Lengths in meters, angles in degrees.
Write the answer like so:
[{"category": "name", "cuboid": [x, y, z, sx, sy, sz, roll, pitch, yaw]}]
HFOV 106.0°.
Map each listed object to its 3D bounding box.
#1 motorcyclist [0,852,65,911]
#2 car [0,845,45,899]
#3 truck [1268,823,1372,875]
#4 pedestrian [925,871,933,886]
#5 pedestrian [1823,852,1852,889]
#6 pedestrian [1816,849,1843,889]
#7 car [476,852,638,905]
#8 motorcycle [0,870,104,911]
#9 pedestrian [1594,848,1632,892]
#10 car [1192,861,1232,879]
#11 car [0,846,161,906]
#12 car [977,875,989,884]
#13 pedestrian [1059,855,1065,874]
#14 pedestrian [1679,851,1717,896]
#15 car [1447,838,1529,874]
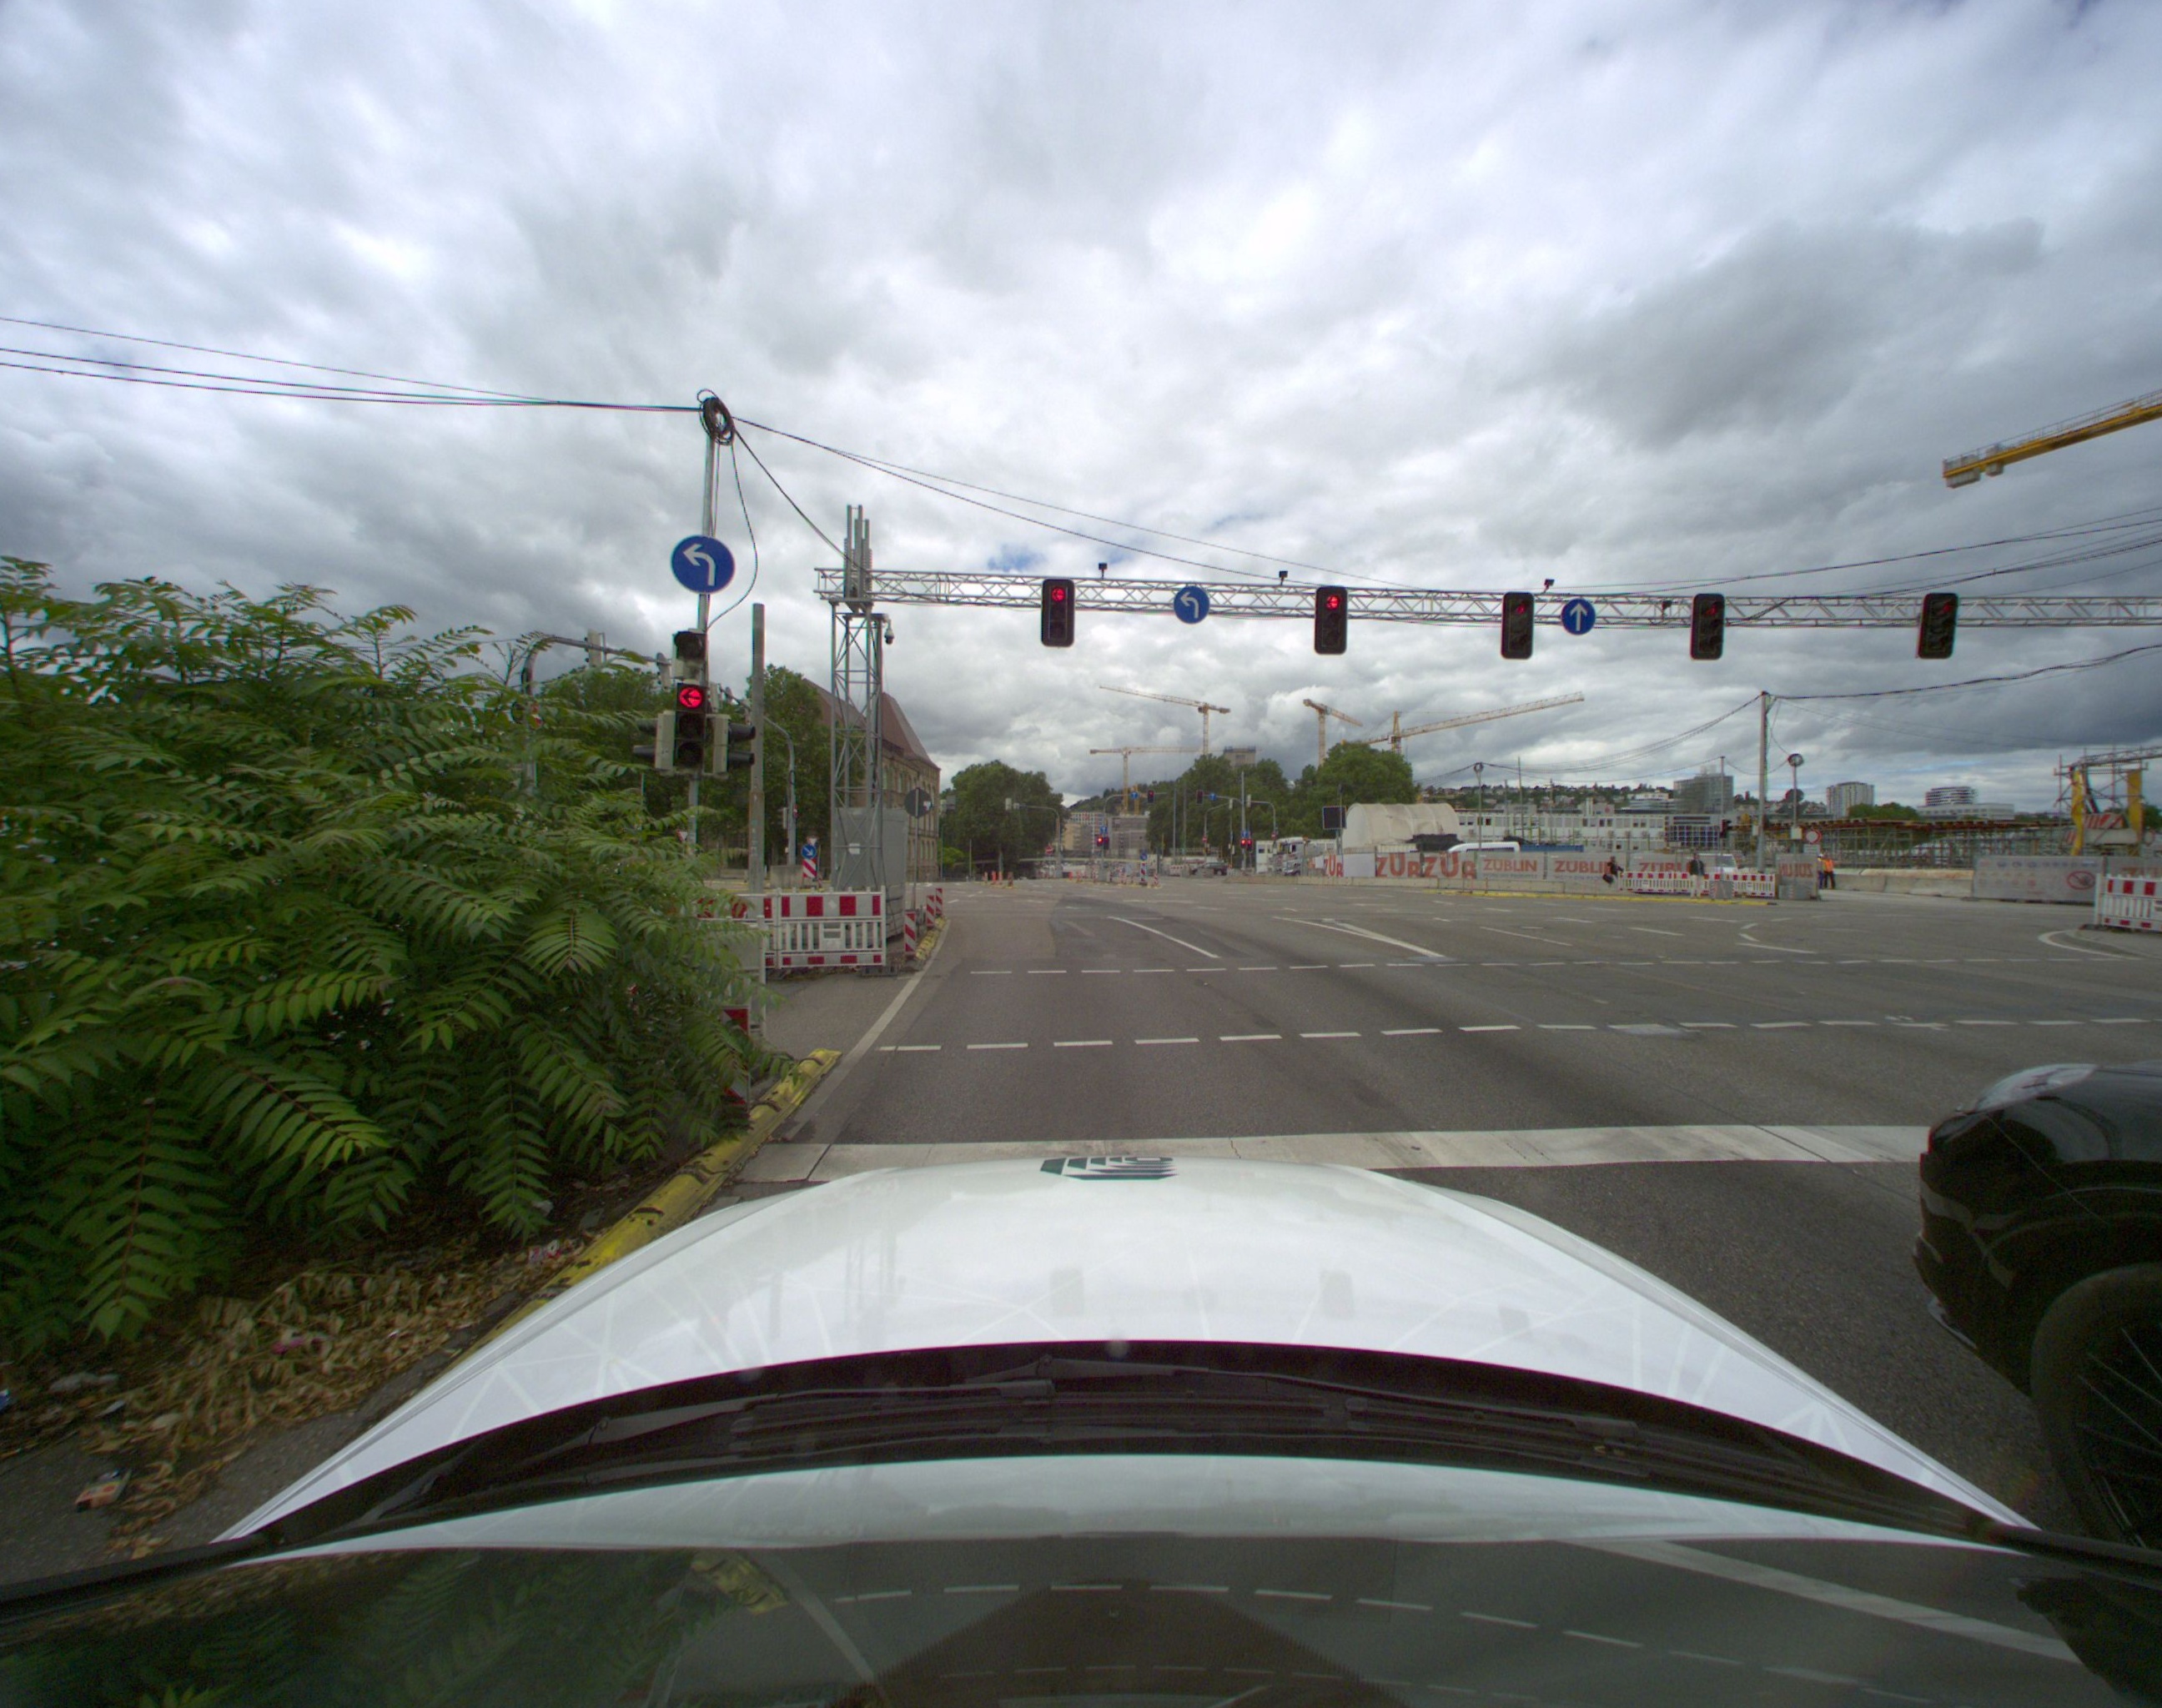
[{"category": "motorcyclist", "cuboid": [-25.559, 0.657, 19.811, 0.786, 1.380, 0.697, -1, -1, -2]}, {"category": "car", "cuboid": [-32.831, 0.526, 23.170, 4.094, 1.547, 2.000, 0, -1, 0]}, {"category": "truck", "cuboid": [23.605, -0.513, 80.616, 9.734, 4.961, 3.097, 0, -1, -16]}, {"category": "pedestrian", "cuboid": [-21.427, 3.423, 114.814, 0.946, 2.014, 0.767, 0, -1, 3]}, {"category": "pedestrian", "cuboid": [39.048, 0.844, 42.027, 0.677, 1.916, 0.865, 0, -1, -4]}, {"category": "pedestrian", "cuboid": [38.283, 0.749, 41.656, 0.673, 2.014, 0.869, -1, -1, 14]}, {"category": "car", "cuboid": [-18.639, 0.829, 29.239, 4.502, 1.759, 1.988, -1, 0, -18]}, {"category": "motorcycle", "cuboid": [-25.393, 0.890, 19.813, 2.342, 0.941, 0.697, -1, -1, -2]}, {"category": "pedestrian", "cuboid": [24.497, 0.739, 37.490, 1.041, 2.014, 1.033, 0, -1, -4]}, {"category": "car", "cuboid": [14.686, 1.779, 91.319, 3.949, 2.014, 2.012, -1, -1, 29]}, {"category": "car", "cuboid": [-28.300, 0.590, 22.171, 4.095, 1.547, 1.999, 0, -1, -2]}, {"category": "car", "cuboid": [-20.872, 5.469, 173.341, 1.987, 1.838, 3.998, 0, -1, -1]}, {"category": "pedestrian", "cuboid": [-1.912, 1.048, 81.123, 0.583, 1.840, 0.604, 0, -1, -2]}, {"category": "pedestrian", "cuboid": [25.743, 0.799, 33.996, 1.035, 1.848, 0.794, -1, -1, 17]}, {"category": "car", "cuboid": [23.463, 0.125, 47.099, 3.955, 2.014, 2.009, -1, -1, 17]}]
